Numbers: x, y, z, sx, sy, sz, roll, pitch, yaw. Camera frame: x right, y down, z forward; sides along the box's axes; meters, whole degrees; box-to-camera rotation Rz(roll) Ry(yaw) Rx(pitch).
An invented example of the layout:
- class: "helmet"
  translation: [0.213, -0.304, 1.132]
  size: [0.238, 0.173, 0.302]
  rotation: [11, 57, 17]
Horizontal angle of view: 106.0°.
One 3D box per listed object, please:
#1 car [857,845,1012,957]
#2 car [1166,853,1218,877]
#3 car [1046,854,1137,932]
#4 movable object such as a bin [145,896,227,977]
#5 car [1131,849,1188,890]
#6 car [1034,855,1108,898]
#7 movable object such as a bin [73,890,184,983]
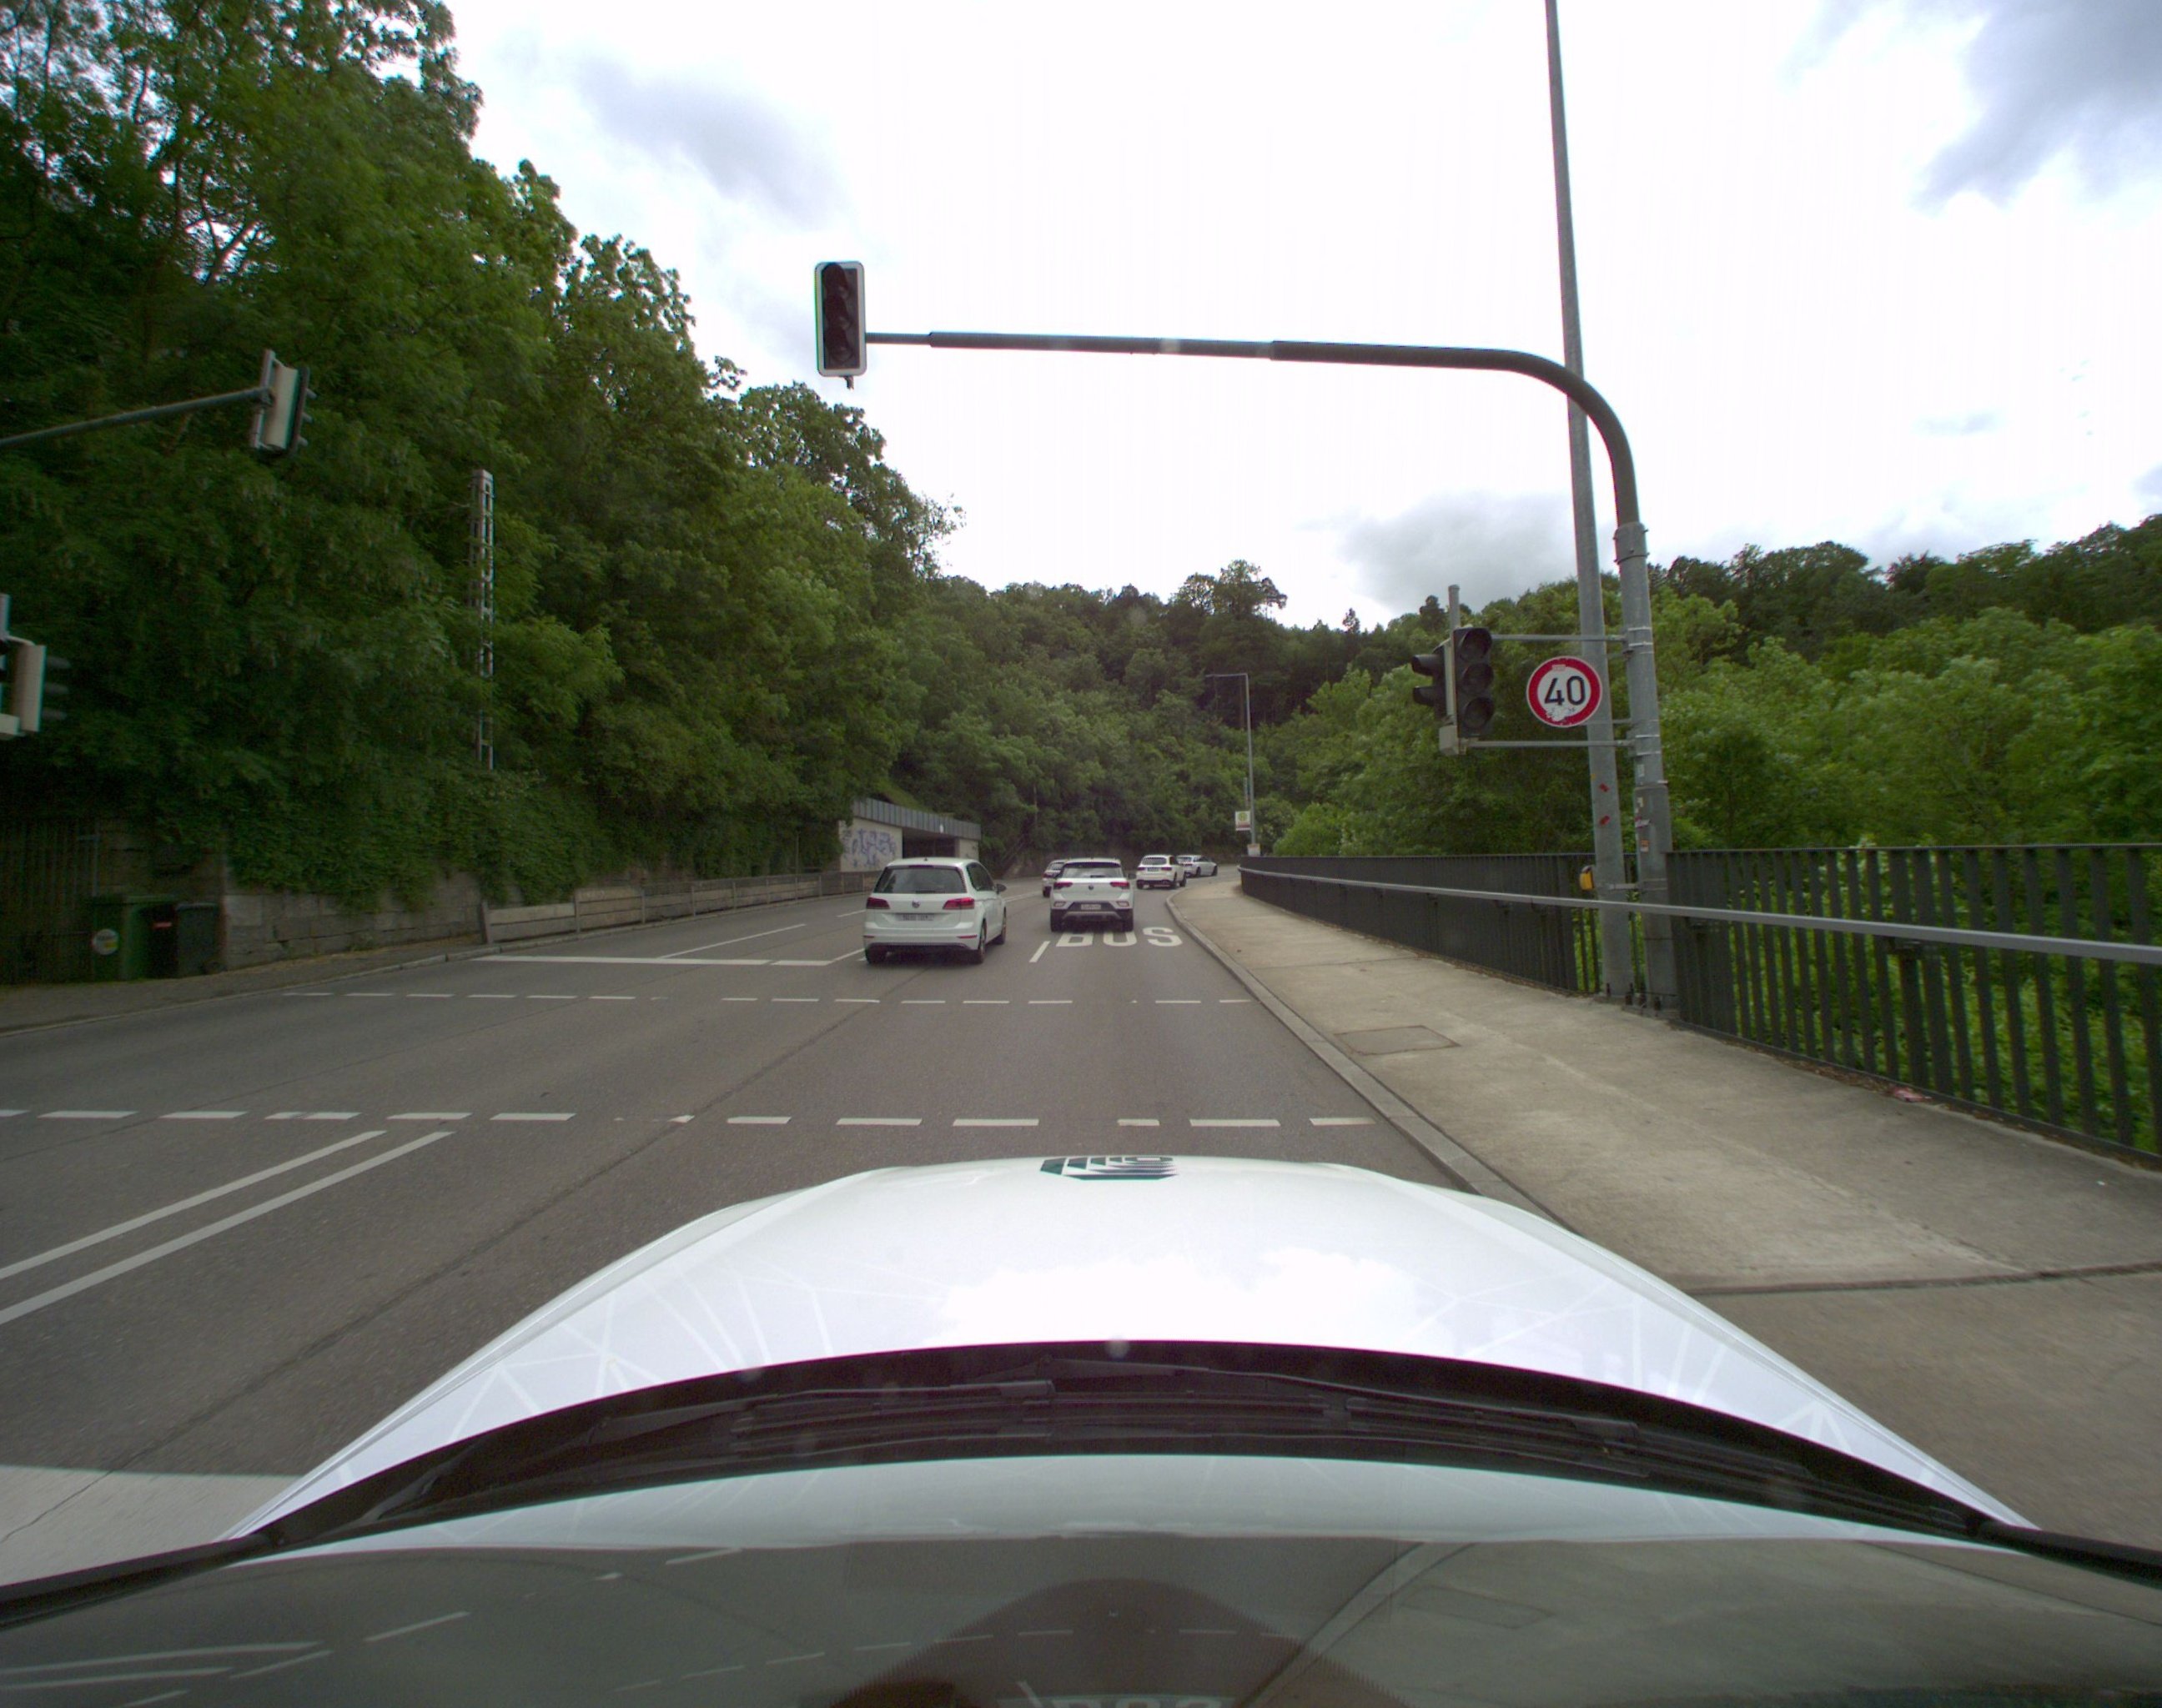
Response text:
- class: "car"
  translation: [-2.223, 0.672, 13.481]
  size: [1.714, 1.554, 4.276]
  rotation: [0, -1, 1]
- class: "car"
  translation: [7.400, 0.753, 54.076]
  size: [1.724, 1.519, 4.335]
  rotation: [0, -1, 33]
- class: "car"
  translation: [0.210, 0.830, 18.499]
  size: [1.808, 1.539, 4.007]
  rotation: [-1, -1, 0]
- class: "movable object such as a bin"
  translation: [-10.990, 1.006, 10.012]
  size: [0.426, 0.950, 0.479]
  rotation: [1, -1, 0]
- class: "car"
  translation: [3.915, 0.755, 39.888]
  size: [1.978, 1.843, 4.167]
  rotation: [1, -1, 16]
- class: "car"
  translation: [-0.309, 0.837, 32.970]
  size: [1.981, 1.557, 4.695]
  rotation: [2, 0, 11]
- class: "movable object such as a bin"
  translation: [-11.575, 0.991, 9.909]
  size: [0.639, 1.067, 0.556]
  rotation: [1, -1, 0]
